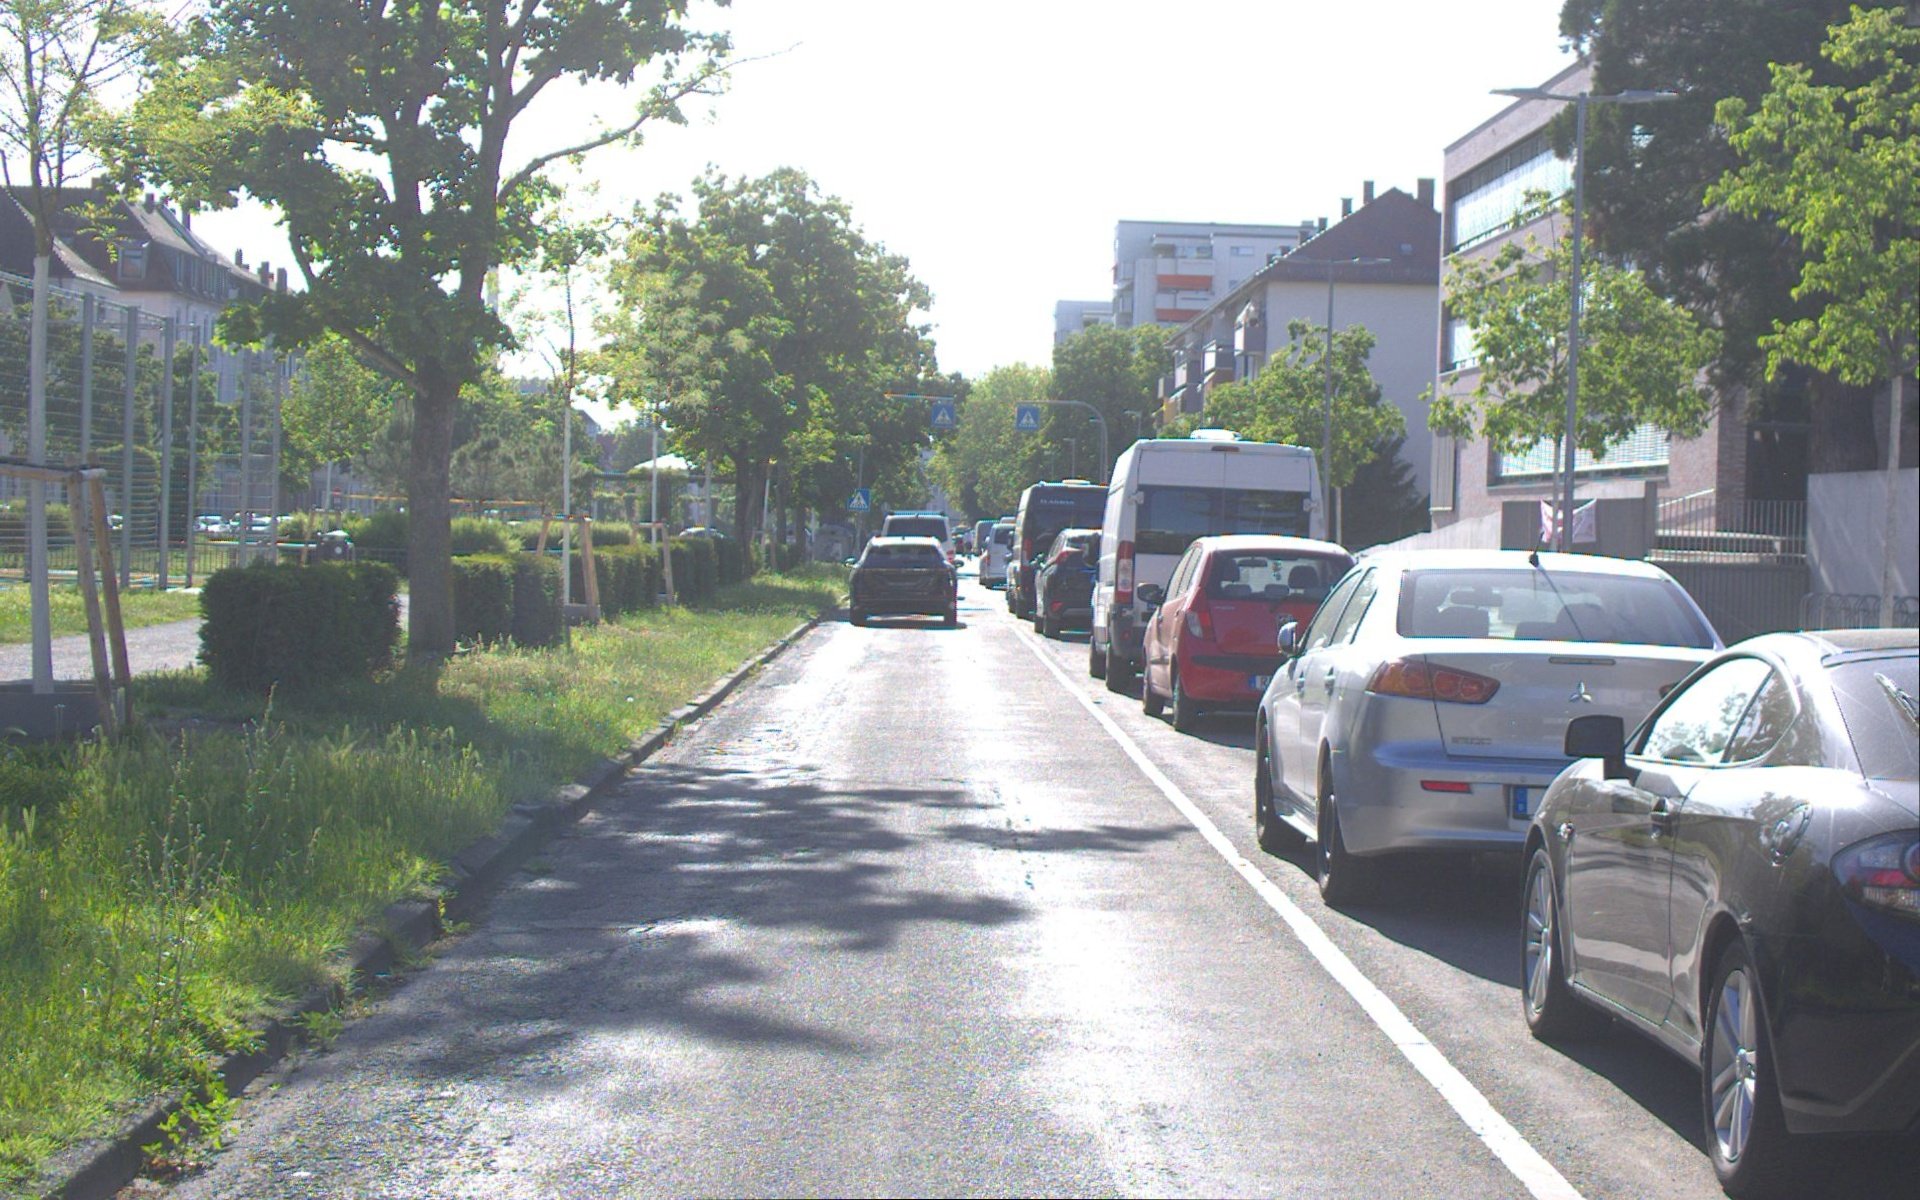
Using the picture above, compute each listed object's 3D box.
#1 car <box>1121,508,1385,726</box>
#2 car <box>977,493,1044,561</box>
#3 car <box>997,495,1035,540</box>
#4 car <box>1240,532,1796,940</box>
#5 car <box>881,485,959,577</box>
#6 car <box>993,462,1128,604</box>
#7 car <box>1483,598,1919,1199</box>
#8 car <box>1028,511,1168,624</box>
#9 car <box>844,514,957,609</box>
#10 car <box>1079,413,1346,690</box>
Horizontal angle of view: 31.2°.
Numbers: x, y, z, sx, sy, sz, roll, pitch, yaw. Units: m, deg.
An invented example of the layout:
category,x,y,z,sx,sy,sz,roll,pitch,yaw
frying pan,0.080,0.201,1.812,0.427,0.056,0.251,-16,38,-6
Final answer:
category,x,y,z,sx,sy,sz,roll,pitch,yaw
car,2.303,0.079,27.809,1.619,1.583,3.592,2,2,-3
car,1.474,-2.123,99.137,1.794,1.848,4.413,2,2,2
car,3.209,-4.738,197.342,1.993,2.422,4.500,4,1,0
car,2.305,0.479,15.237,1.701,1.473,4.174,2,1,0
car,-0.953,-1.686,83.547,1.794,2.115,4.000,2,1,0
car,1.844,-1.292,65.416,2.115,2.507,6.533,1,1,-2
car,2.608,0.739,9.113,1.701,1.320,4.130,2,1,-1
car,2.085,-0.533,53.170,1.846,1.634,4.504,1,1,-1
car,-0.972,-0.680,58.113,1.794,1.505,4.000,2,1,0
car,2.512,-0.532,35.627,2.241,2.565,5.433,2,1,0
